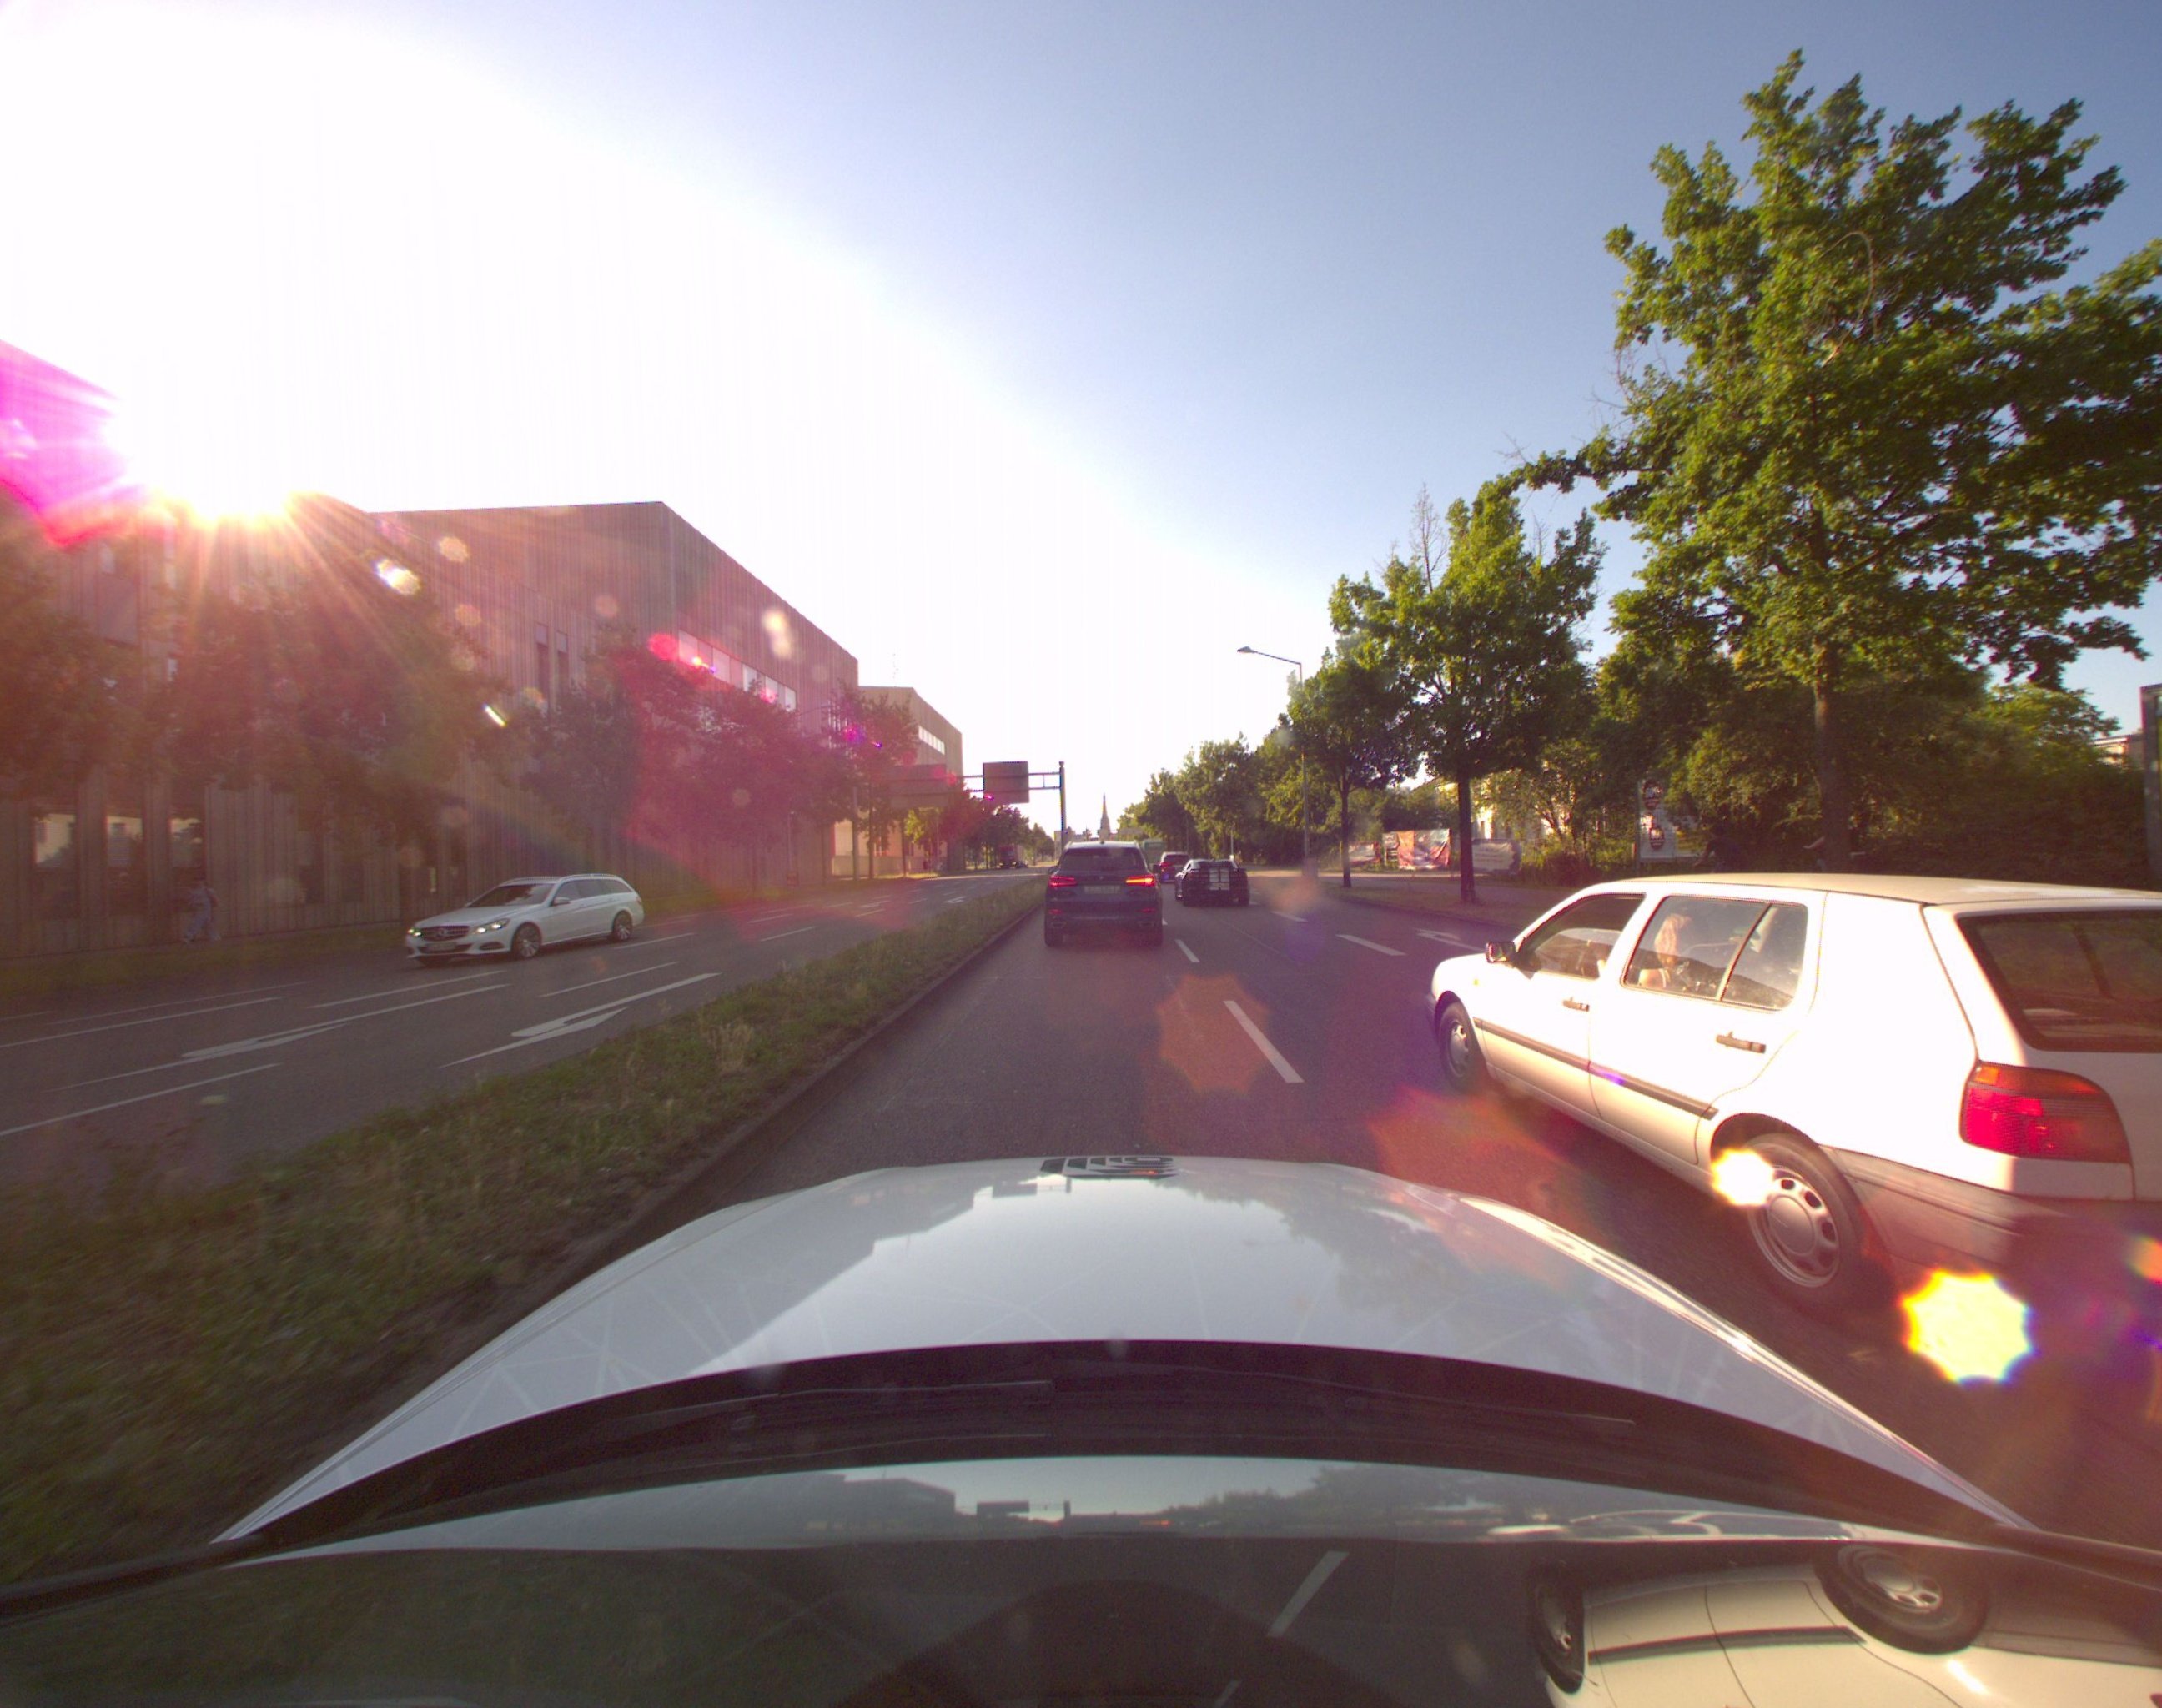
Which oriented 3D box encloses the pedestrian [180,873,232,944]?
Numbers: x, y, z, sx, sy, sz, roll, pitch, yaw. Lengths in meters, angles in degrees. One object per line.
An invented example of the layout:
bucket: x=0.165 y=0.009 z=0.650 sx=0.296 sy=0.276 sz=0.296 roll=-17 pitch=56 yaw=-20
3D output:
pedestrian: x=-22.485 y=1.398 z=20.934 sx=0.600 sy=1.767 sz=0.649 roll=-2 pitch=0 yaw=2

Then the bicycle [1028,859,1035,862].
bicycle: x=-13.769 y=1.804 z=225.162 sx=1.893 sy=1.020 sz=0.506 roll=-1 pitch=-1 yaw=16

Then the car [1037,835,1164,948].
car: x=0.409 y=0.615 z=15.001 sx=1.947 sy=1.727 sz=4.702 roll=-1 pitch=-1 yaw=3

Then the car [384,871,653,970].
car: x=-10.848 y=1.185 z=16.279 sx=1.838 sy=1.472 sz=4.818 roll=-3 pitch=0 yaw=2

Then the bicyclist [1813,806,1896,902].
bicyclist: x=13.251 y=0.002 z=13.975 sx=0.600 sy=1.578 sz=0.849 roll=-2 pitch=0 yaw=3

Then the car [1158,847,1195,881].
car: x=4.921 y=0.520 z=42.164 sx=1.738 sy=1.621 sz=3.826 roll=-2 pitch=-1 yaw=6

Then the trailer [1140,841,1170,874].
trailer: x=5.632 y=0.252 z=62.332 sx=2.082 sy=2.400 sz=3.502 roll=0 pitch=0 yaw=2

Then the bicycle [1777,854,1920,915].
bicycle: x=13.273 y=0.497 z=14.176 sx=0.614 sy=0.973 sz=2.060 roll=-2 pitch=0 yaw=3

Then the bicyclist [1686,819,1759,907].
bicyclist: x=11.451 y=0.157 z=14.568 sx=0.610 sy=1.501 sz=0.849 roll=-2 pitch=0 yaw=3

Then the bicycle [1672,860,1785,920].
bicycle: x=11.469 y=0.603 z=14.501 sx=0.614 sy=0.973 sz=1.823 roll=-2 pitch=0 yaw=3

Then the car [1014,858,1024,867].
car: x=-10.947 y=1.542 z=143.584 sx=1.592 sy=1.512 sz=3.863 roll=-2 pitch=0 yaw=-3

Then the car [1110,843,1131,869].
car: x=4.030 y=0.189 z=83.388 sx=1.986 sy=2.585 sz=4.002 roll=-2 pitch=0 yaw=2

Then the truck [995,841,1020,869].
truck: x=-10.805 y=0.140 z=120.954 sx=2.990 sy=3.811 sz=10.081 roll=-2 pitch=0 yaw=-2

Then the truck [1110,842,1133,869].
truck: x=4.194 y=0.175 z=85.059 sx=2.212 sy=2.651 sz=4.774 roll=-2 pitch=0 yaw=1

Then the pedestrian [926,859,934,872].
pedestrian: x=-18.712 y=1.398 z=100.740 sx=0.773 sy=1.601 sz=0.910 roll=-2 pitch=0 yaw=2

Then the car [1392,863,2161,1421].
car: x=3.105 y=0.751 z=4.084 sx=1.605 sy=1.398 sz=4.038 roll=0 pitch=-1 yaw=1

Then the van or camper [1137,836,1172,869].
van or camper: x=6.075 y=-0.099 z=68.423 sx=2.278 sy=2.629 sz=6.581 roll=-1 pitch=0 yaw=-1

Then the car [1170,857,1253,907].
car: x=3.813 y=0.772 z=24.506 sx=1.847 sy=1.338 sz=4.626 roll=-1 pitch=0 yaw=2

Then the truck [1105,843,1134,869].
truck: x=3.979 y=0.229 z=85.603 sx=2.573 sy=2.558 sz=6.248 roll=-2 pitch=0 yaw=-1
